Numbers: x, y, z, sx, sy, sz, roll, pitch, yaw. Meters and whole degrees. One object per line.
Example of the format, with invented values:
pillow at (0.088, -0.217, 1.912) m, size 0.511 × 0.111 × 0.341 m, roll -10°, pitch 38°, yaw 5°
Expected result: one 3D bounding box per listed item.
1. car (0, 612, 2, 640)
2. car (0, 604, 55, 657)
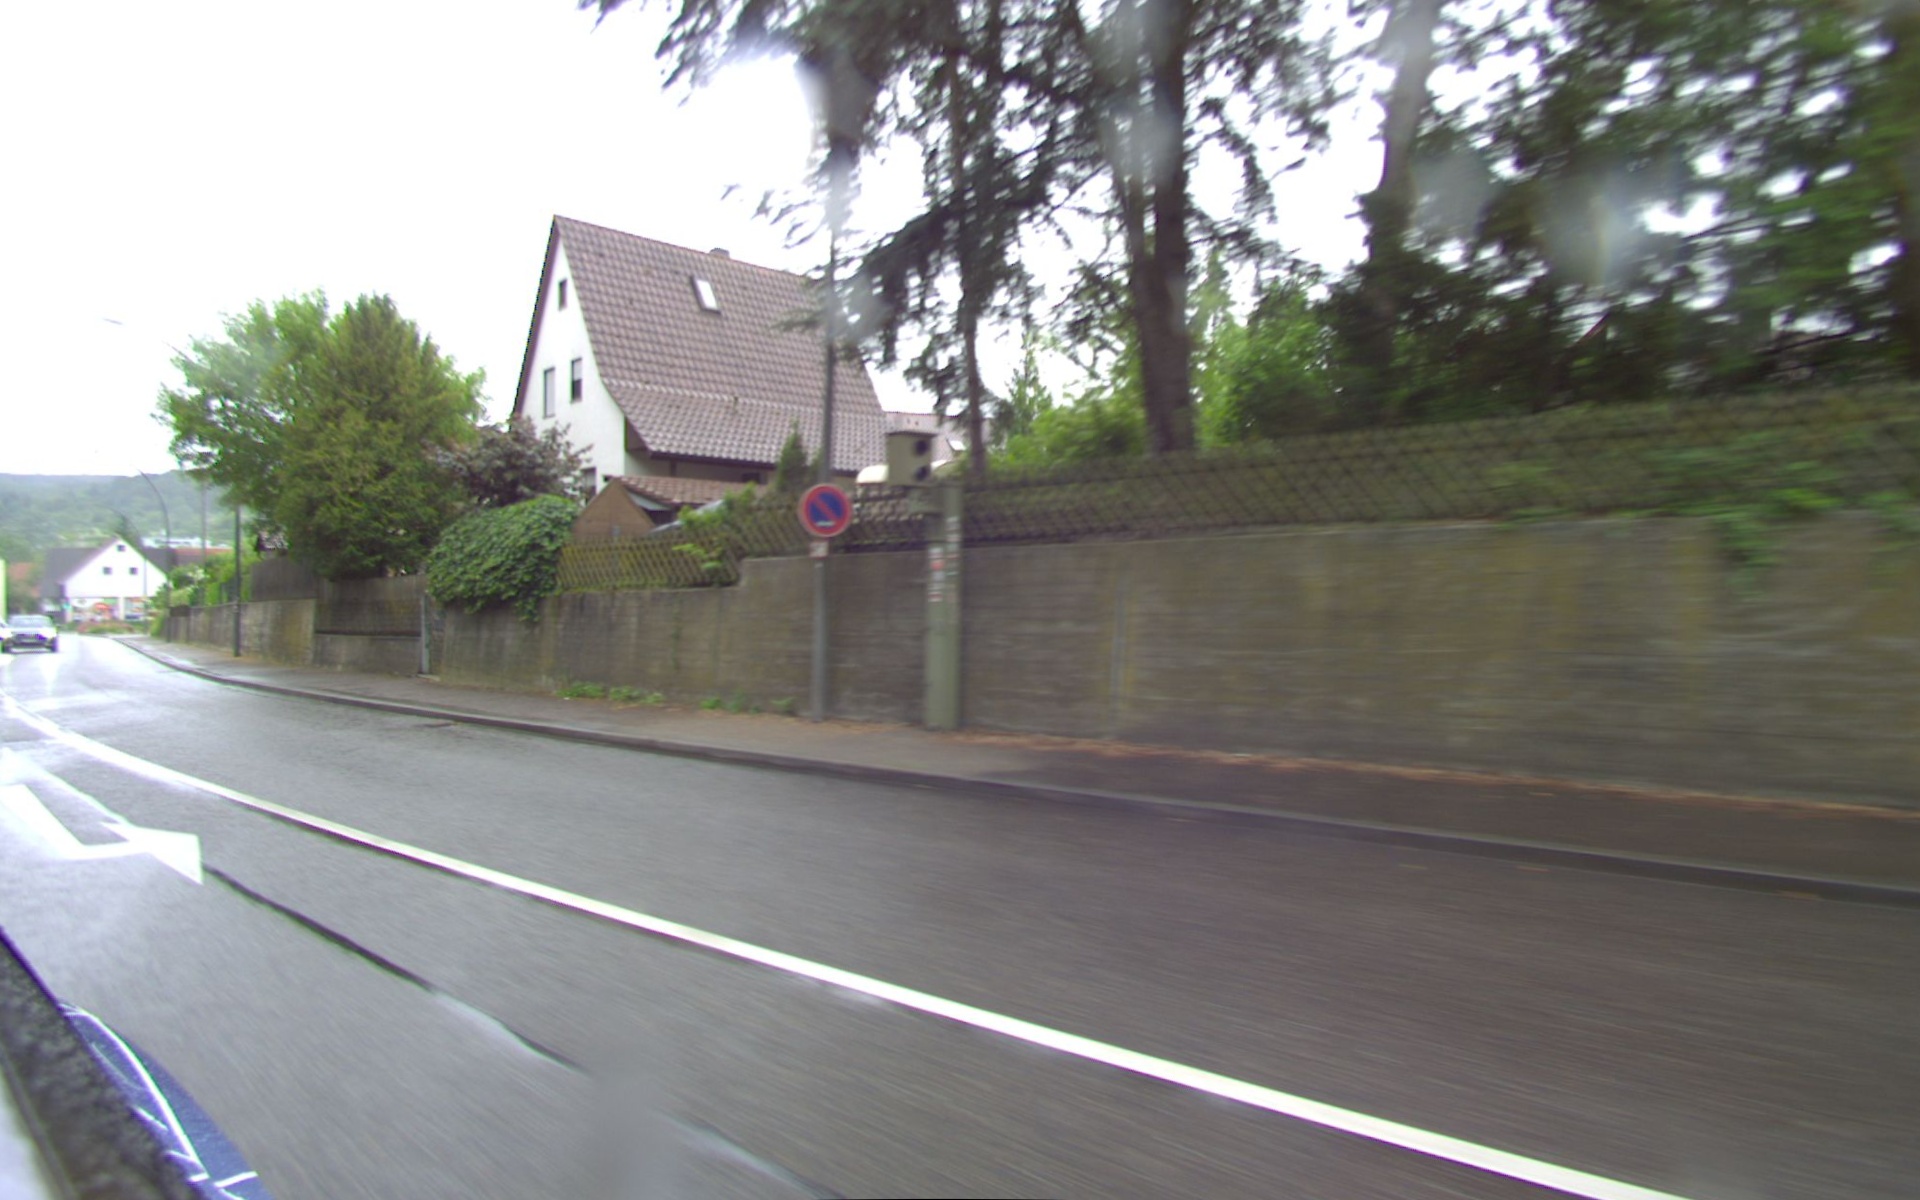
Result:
car at (-63.724, 1.701, 65.816) m, size 1.920 × 1.807 × 4.192 m, roll 1°, pitch -1°, yaw -41°
car at (-39.003, 1.229, 42.079) m, size 1.970 × 2.029 × 4.004 m, roll -1°, pitch 1°, yaw -43°
